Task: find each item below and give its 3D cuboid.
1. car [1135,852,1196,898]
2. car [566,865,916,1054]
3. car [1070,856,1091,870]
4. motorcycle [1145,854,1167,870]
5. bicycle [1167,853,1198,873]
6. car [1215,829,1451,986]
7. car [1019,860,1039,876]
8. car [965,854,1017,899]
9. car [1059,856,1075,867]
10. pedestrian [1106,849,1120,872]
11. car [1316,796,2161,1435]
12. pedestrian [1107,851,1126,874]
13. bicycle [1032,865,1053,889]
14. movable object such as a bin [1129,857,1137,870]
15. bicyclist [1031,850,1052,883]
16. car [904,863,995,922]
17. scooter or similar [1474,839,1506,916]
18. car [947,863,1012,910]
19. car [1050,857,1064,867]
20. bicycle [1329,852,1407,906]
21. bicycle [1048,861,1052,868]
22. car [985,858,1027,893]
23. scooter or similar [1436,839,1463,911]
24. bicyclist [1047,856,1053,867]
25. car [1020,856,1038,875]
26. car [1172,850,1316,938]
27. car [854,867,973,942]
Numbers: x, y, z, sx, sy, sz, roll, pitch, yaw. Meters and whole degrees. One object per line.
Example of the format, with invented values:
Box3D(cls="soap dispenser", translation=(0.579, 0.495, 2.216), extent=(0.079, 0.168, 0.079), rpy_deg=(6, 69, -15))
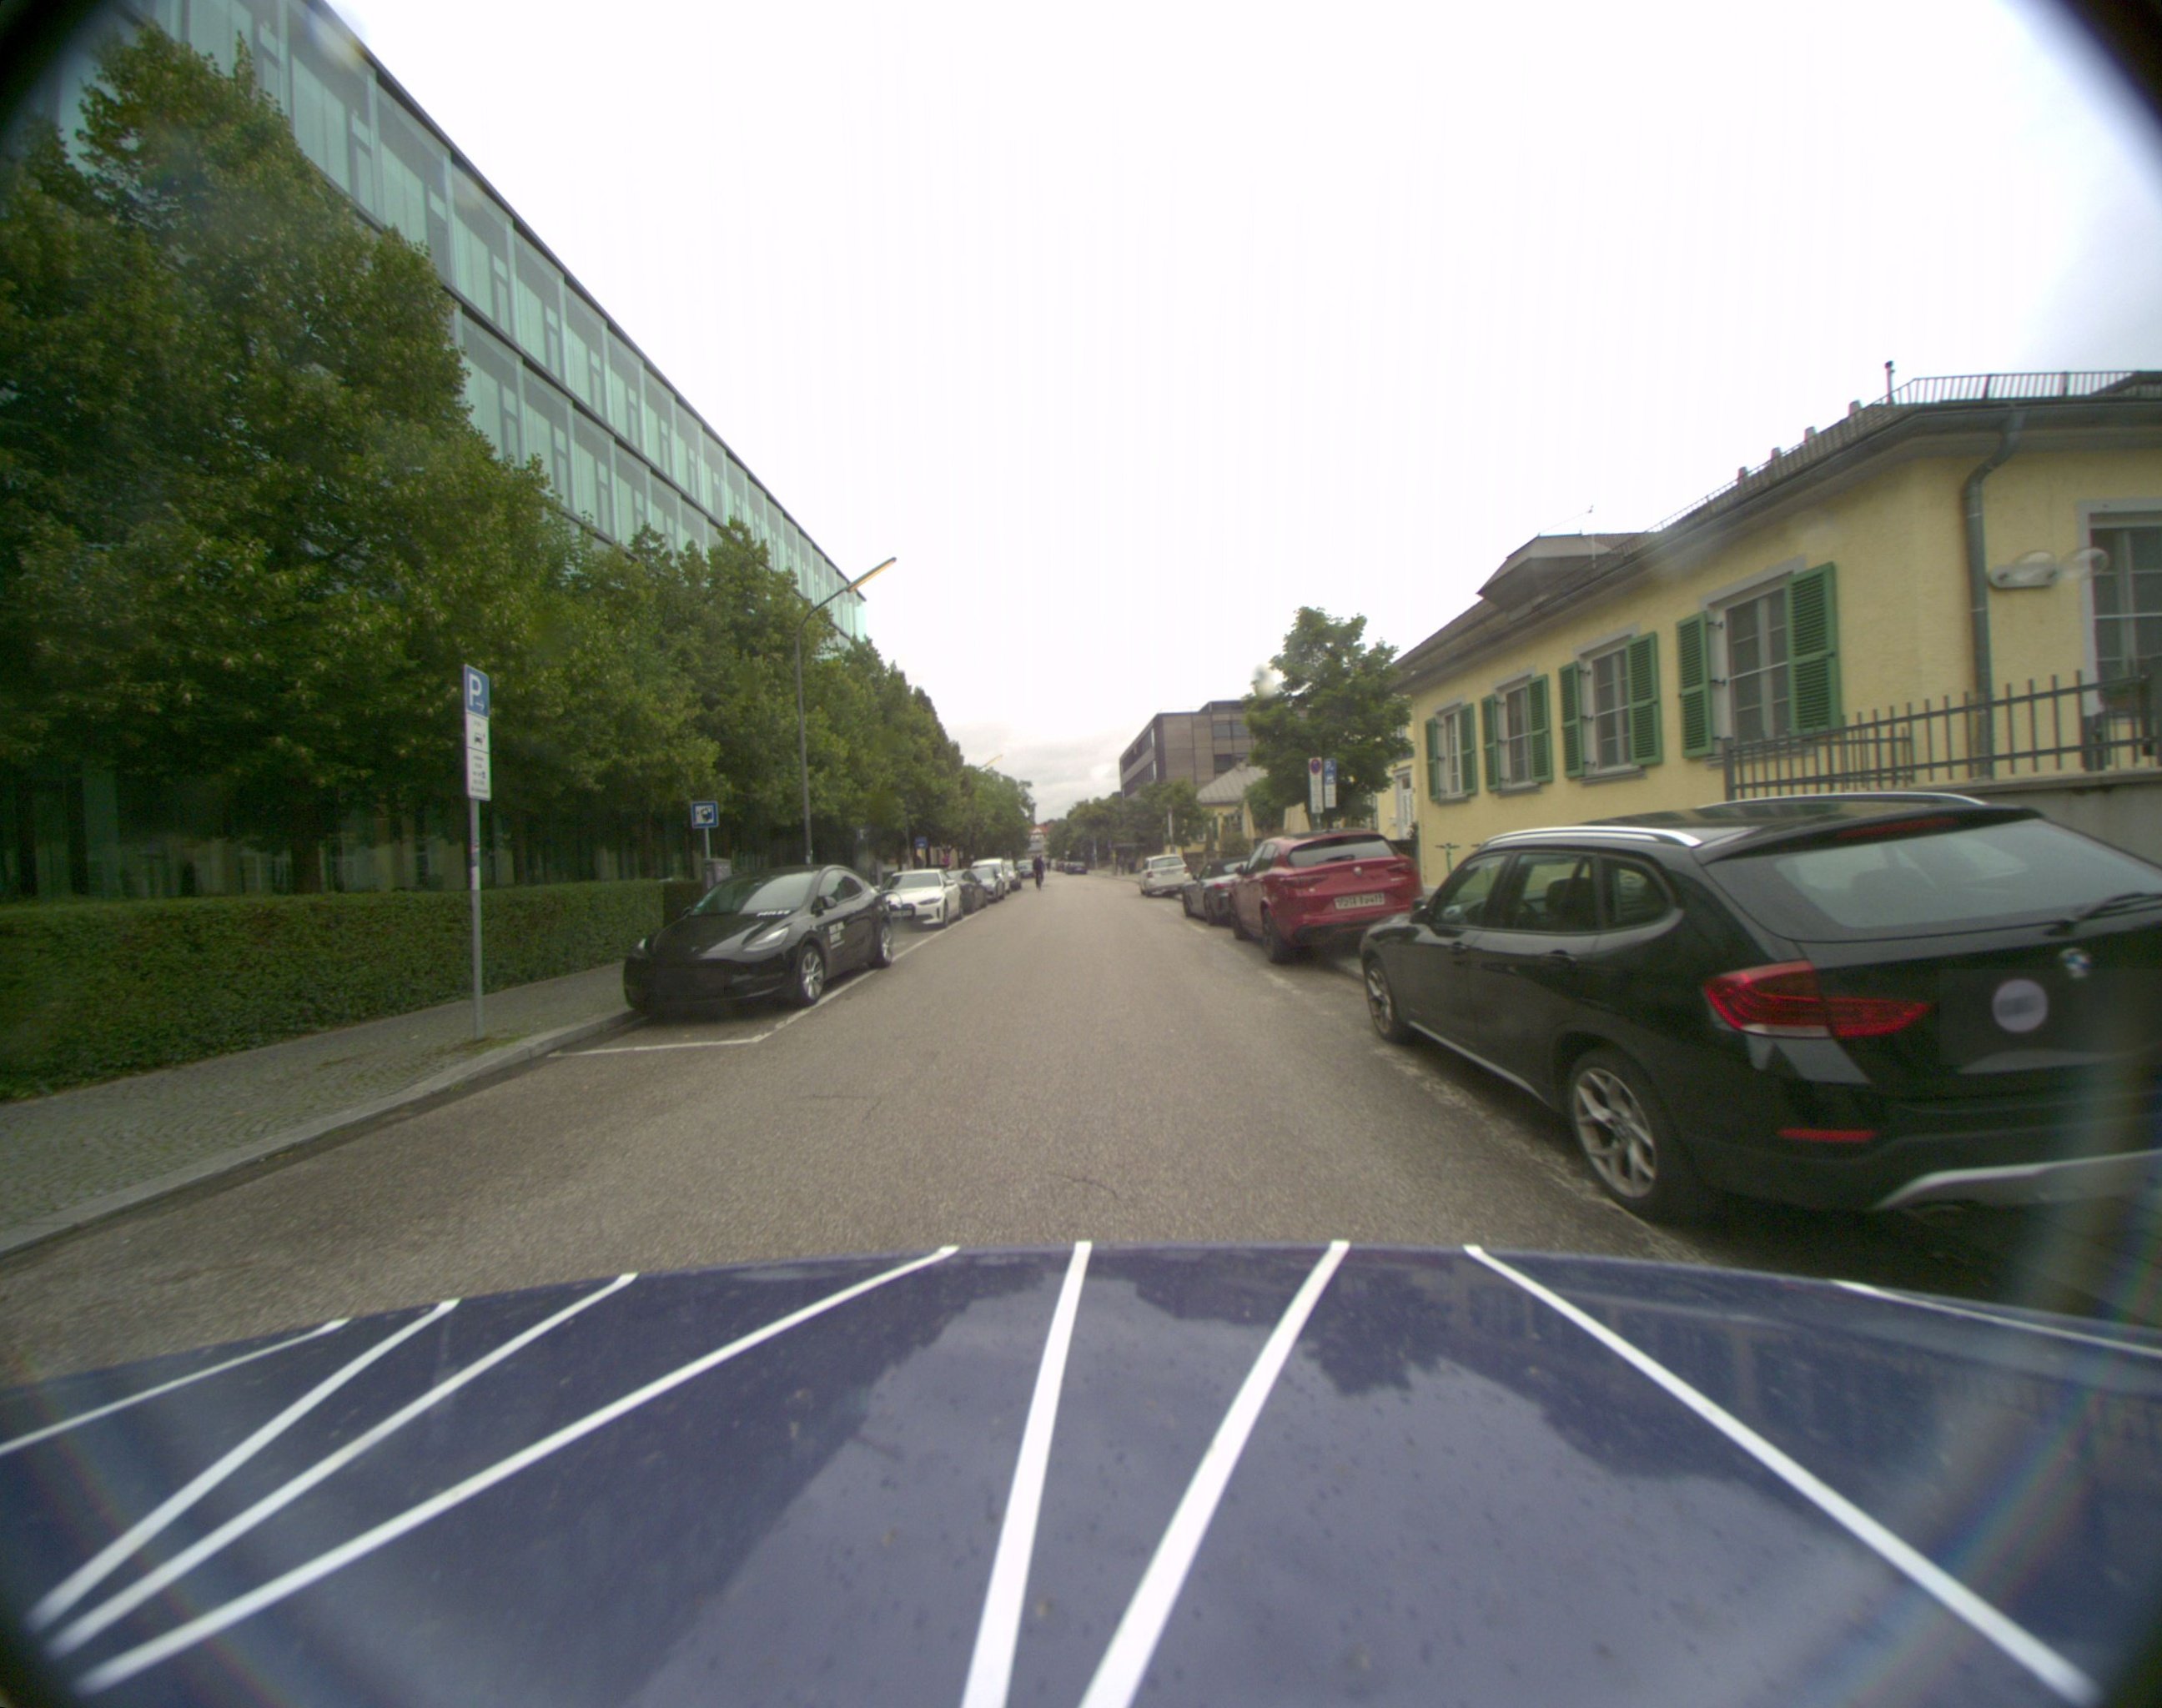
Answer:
Box3D(cls="car", translation=(3.126, 0.741, 28.980), extent=(1.729, 1.483, 4.461), rpy_deg=(-5, 0, 0))
Box3D(cls="car", translation=(-3.884, 1.079, 9.979), extent=(1.998, 1.621, 5.100), rpy_deg=(-5, 0, 2))
Box3D(cls="car", translation=(-0.053, 1.015, 84.760), extent=(1.929, 1.390, 4.485), rpy_deg=(-3, 0, -4))
Box3D(cls="motorcycle", translation=(6.180, 0.660, 62.674), extent=(1.664, 1.106, 0.591), rpy_deg=(-6, 1, 40))
Box3D(cls="bicycle", translation=(6.533, 0.589, 48.885), extent=(1.847, 1.028, 0.466), rpy_deg=(-8, 0, -1))
Box3D(cls="car", translation=(3.355, 0.623, 11.249), extent=(1.906, 1.682, 4.808), rpy_deg=(-5, 0, 2))
Box3D(cls="car", translation=(-5.474, 1.467, 80.272), extent=(1.959, 1.494, 4.485), rpy_deg=(-5, 0, -4))
Box3D(cls="car", translation=(-4.282, 1.034, 36.748), extent=(1.789, 1.884, 4.574), rpy_deg=(-5, 0, 0))
Box3D(cls="car", translation=(-2.010, 1.082, 109.417), extent=(1.999, 1.555, 3.999), rpy_deg=(-3, 0, -4))
Box3D(cls="pedestrian", translation=(2.884, 0.606, 67.816), extent=(0.977, 2.002, 0.914), rpy_deg=(-5, 0, -4))
Box3D(cls="car", translation=(2.963, 0.664, 4.339), extent=(1.850, 1.598, 4.743), rpy_deg=(-5, 0, 2))
Box3D(cls="pedestrian", translation=(3.311, 0.776, 70.623), extent=(1.480, 2.002, 1.500), rpy_deg=(-5, 0, -4))
Box3D(cls="bicycle", translation=(-2.037, 1.193, 40.271), extent=(0.720, 1.199, 1.802), rpy_deg=(-5, -1, 8))
Box3D(cls="movable object such as a bin", translation=(4.635, 0.823, 67.559), extent=(0.615, 1.102, 0.460), rpy_deg=(-5, 1, -4))
Box3D(cls="bicyclist", translation=(-2.074, 0.668, 40.327), extent=(0.780, 1.657, 1.035), rpy_deg=(-5, -1, 9))
Box3D(cls="car", translation=(-4.167, 1.170, 24.978), extent=(1.967, 1.543, 4.849), rpy_deg=(-5, 0, 1))
Box3D(cls="scooter or similar", translation=(7.322, 0.391, 13.627), extent=(0.363, 1.306, 1.255), rpy_deg=(-3, 0, 25))
Box3D(cls="car", translation=(-4.033, 1.243, 30.870), extent=(1.952, 1.543, 5.004), rpy_deg=(-5, 0, -1))
Box3D(cls="car", translation=(-3.753, 1.258, 119.899), extent=(1.999, 1.510, 3.999), rpy_deg=(-5, 0, -4))
Box3D(cls="bicycle", translation=(6.596, 0.564, 17.512), extent=(1.494, 1.142, 0.642), rpy_deg=(-4, 0, 2))
Box3D(cls="bicycle", translation=(-4.696, 1.562, 114.543), extent=(0.607, 1.014, 2.307), rpy_deg=(-1, 0, -4))
Box3D(cls="car", translation=(-4.171, 1.162, 42.786), extent=(1.872, 1.681, 4.784), rpy_deg=(-5, 0, -1))
Box3D(cls="scooter or similar", translation=(7.238, 0.386, 14.910), extent=(0.375, 1.335, 1.355), rpy_deg=(-3, 0, 27))
Box3D(cls="bicyclist", translation=(-4.694, 1.097, 114.654), extent=(0.904, 1.601, 1.067), rpy_deg=(-1, 0, -4))
Box3D(cls="car", translation=(-5.941, 1.284, 86.326), extent=(1.831, 1.884, 4.485), rpy_deg=(-5, 0, -4))
Box3D(cls="car", translation=(3.349, 0.754, 16.643), extent=(1.901, 1.510, 4.654), rpy_deg=(-5, 0, -2))
Box3D(cls="car", translation=(-4.098, 1.165, 19.520), extent=(1.999, 1.451, 4.956), rpy_deg=(-5, 0, -2))
